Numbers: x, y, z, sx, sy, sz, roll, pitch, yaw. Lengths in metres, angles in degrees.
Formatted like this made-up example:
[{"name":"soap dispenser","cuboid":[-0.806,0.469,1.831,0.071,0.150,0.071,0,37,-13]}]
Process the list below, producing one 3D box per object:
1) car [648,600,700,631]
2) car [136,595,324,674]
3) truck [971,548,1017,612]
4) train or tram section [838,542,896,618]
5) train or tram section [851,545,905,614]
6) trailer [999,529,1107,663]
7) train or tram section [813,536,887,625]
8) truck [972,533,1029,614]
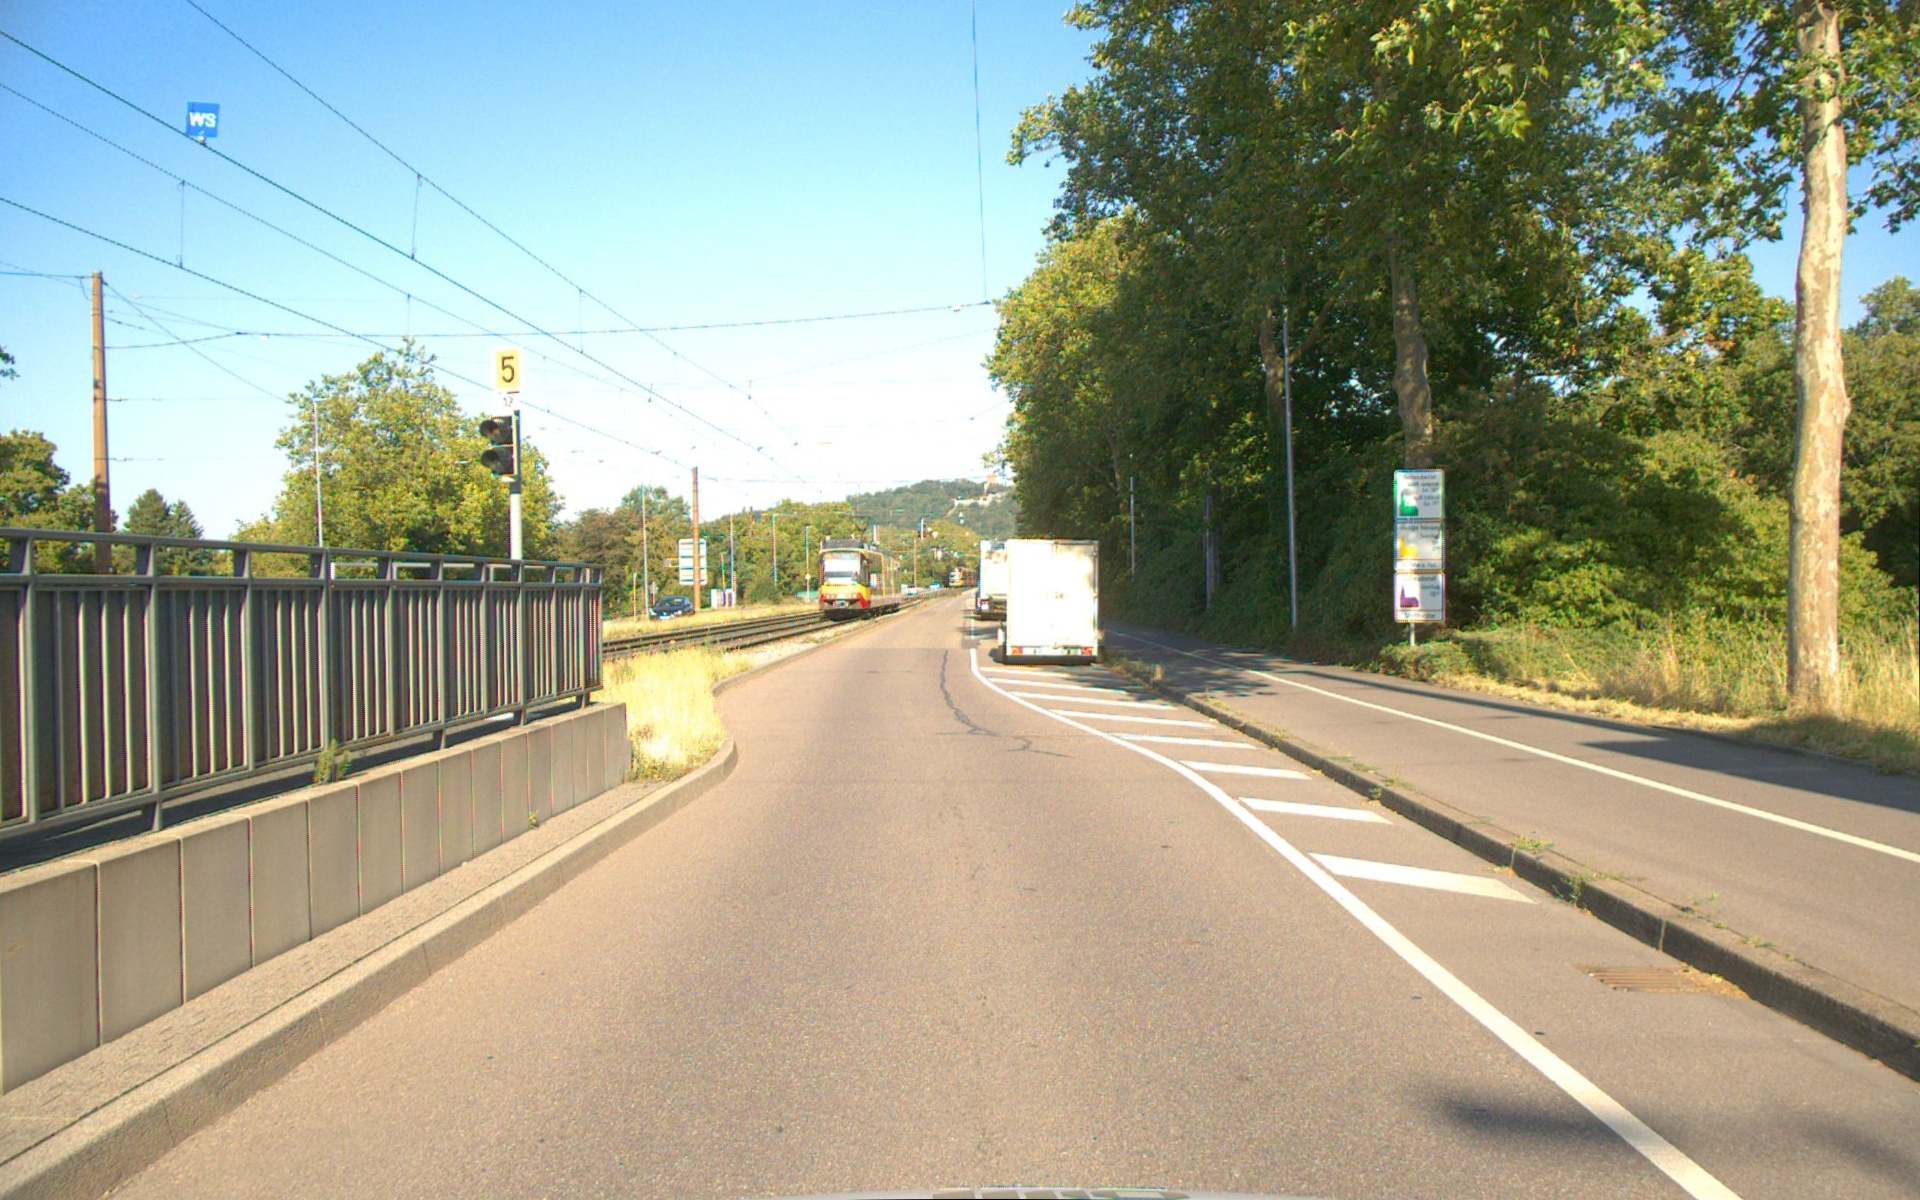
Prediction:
[{"name":"car","cuboid":[-14.472,0.767,83.843,1.737,1.450,4.490,-1,0,1]},{"name":"car","cuboid":[-15.577,0.690,35.572,1.952,1.589,4.544,0,0,1]},{"name":"truck","cuboid":[2.091,-1.231,104.130,2.661,3.849,9.761,1,0,0]},{"name":"train or tram section","cuboid":[-5.428,-1.148,97.838,2.639,4.160,9.911,-2,0,1]},{"name":"train or tram section","cuboid":[-5.310,-1.310,109.180,2.663,4.160,12.814,-2,0,1]},{"name":"trailer","cuboid":[2.087,-0.094,36.997,2.204,2.742,5.949,0,0,3]},{"name":"train or tram section","cuboid":[-5.575,-0.989,86.065,2.665,4.162,13.616,-2,0,1]},{"name":"truck","cuboid":[2.004,-1.306,84.916,2.685,3.849,10.089,1,0,0]}]
